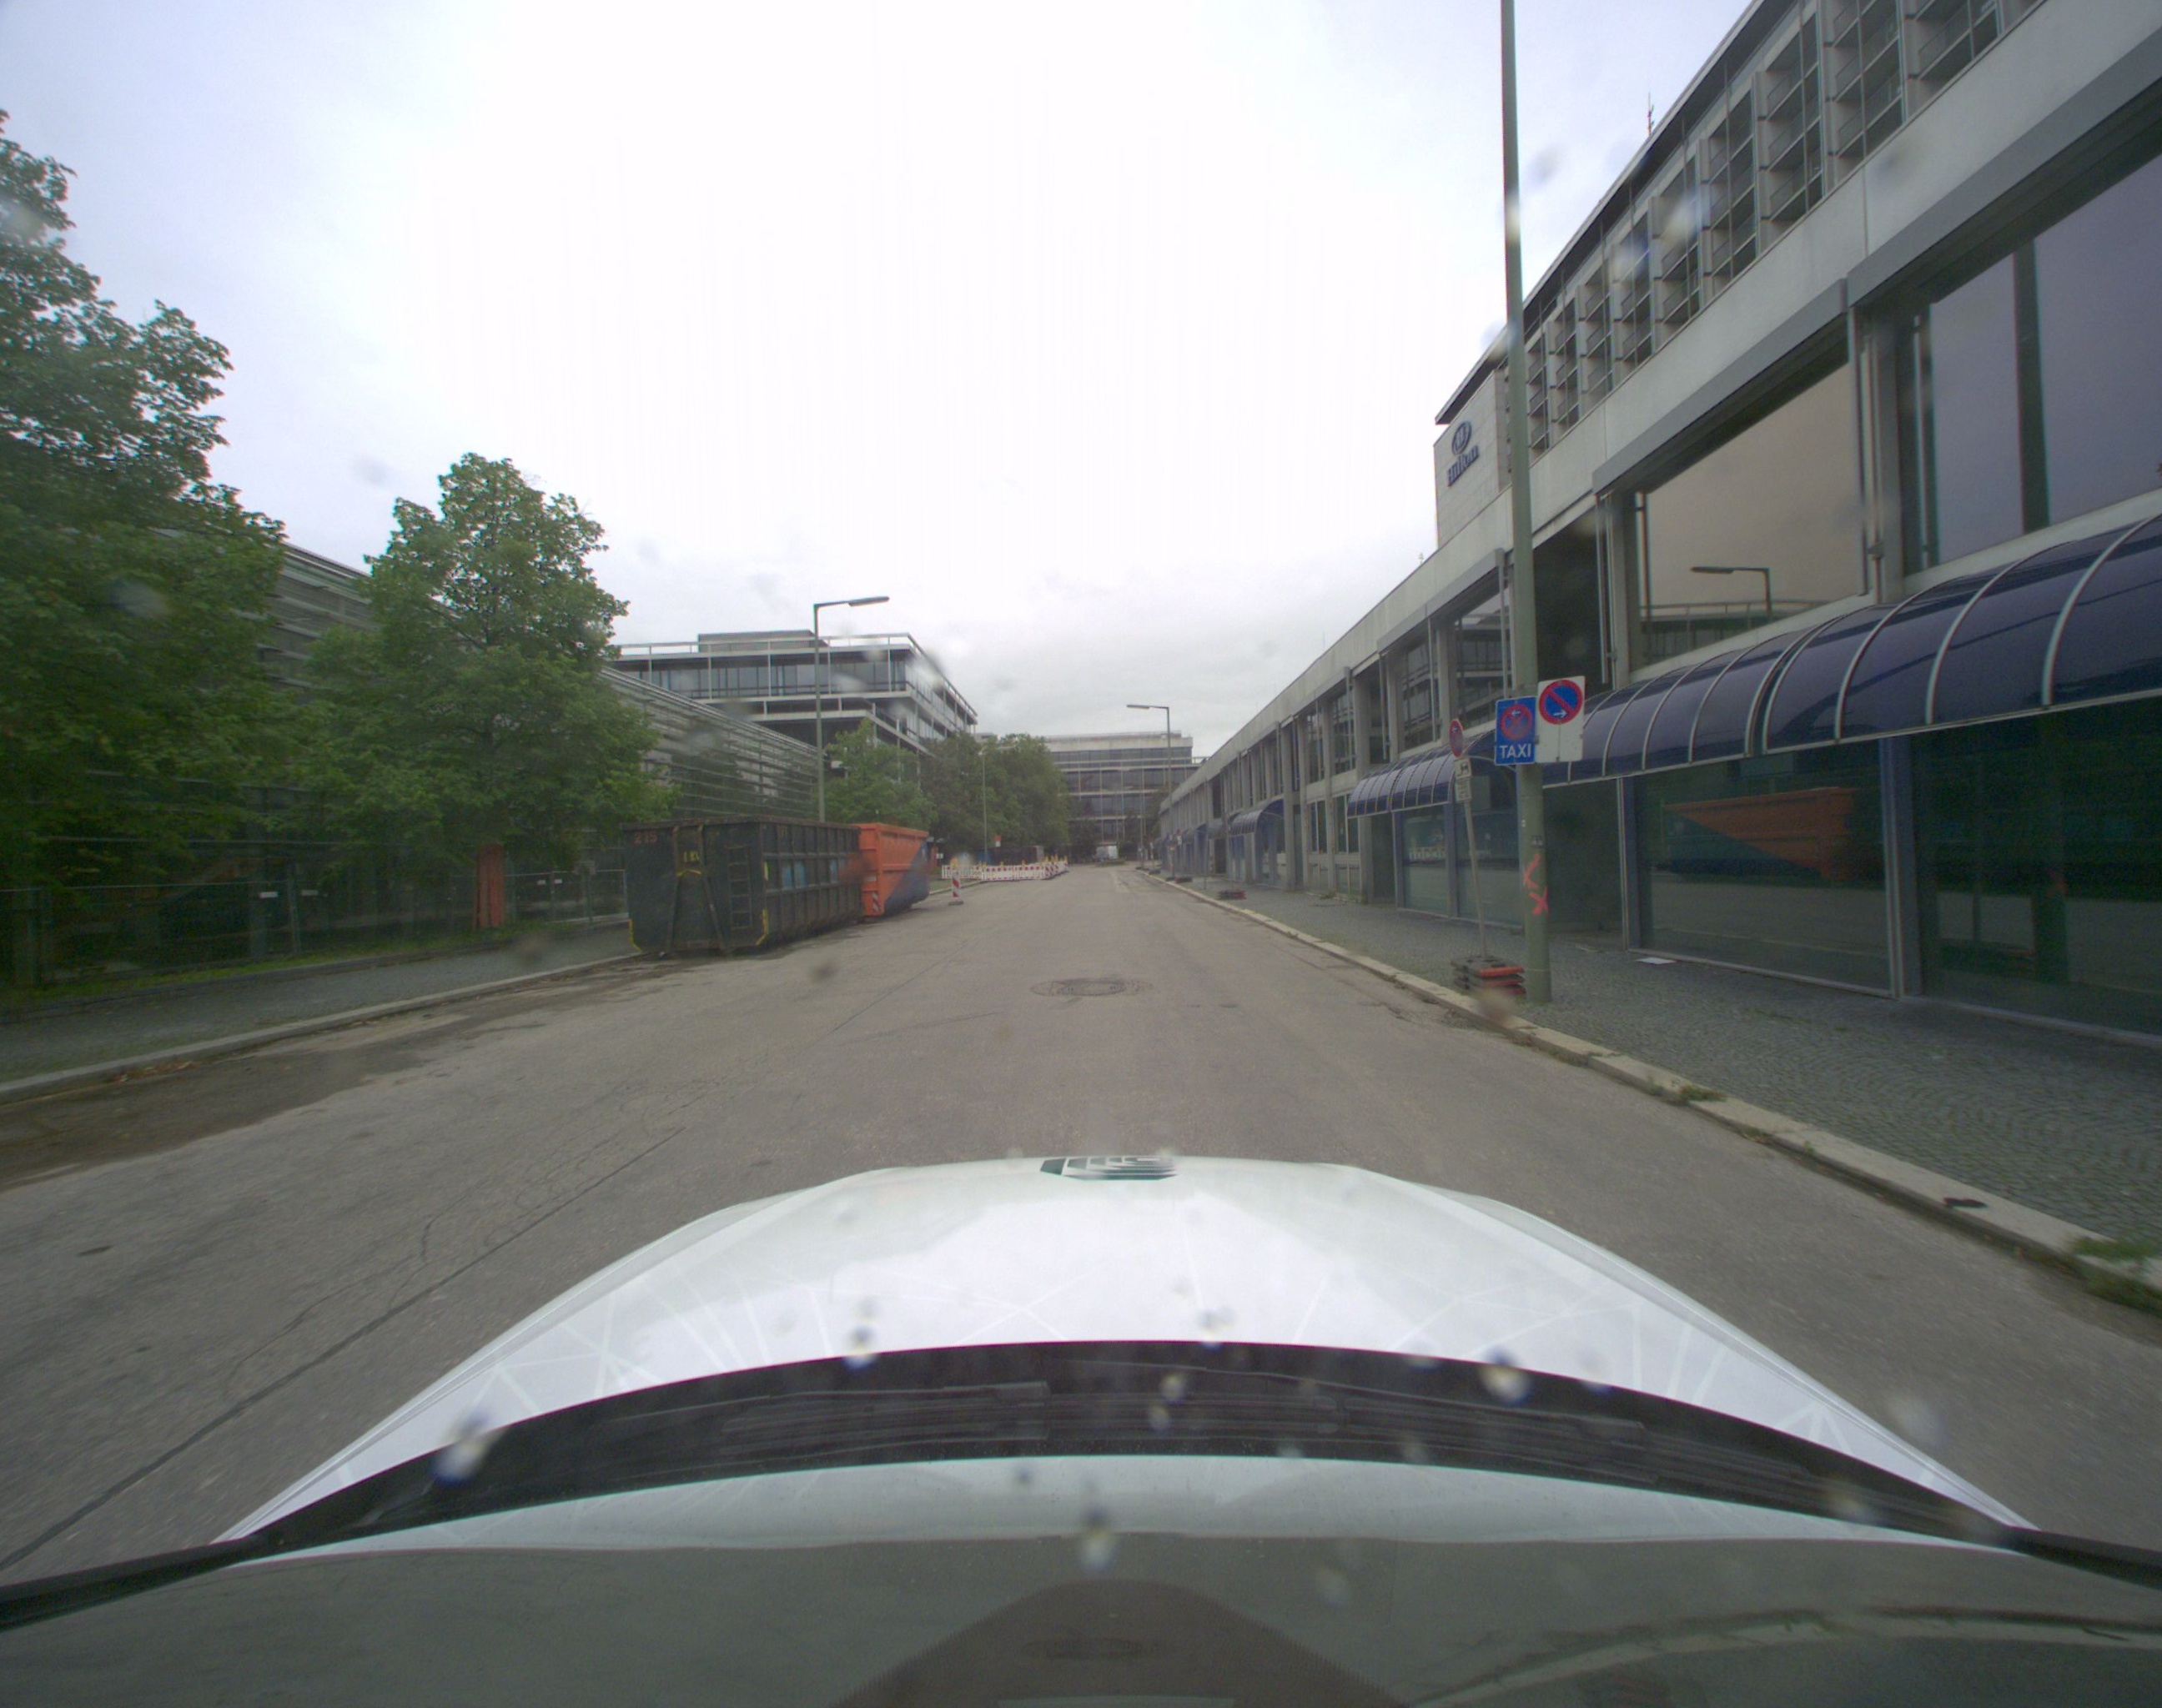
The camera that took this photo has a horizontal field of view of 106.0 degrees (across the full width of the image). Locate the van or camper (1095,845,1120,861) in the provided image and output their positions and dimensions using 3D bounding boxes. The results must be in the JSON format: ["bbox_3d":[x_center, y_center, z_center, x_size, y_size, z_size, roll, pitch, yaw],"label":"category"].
[{"bbox_3d":[4.316,-0.203,134.888,2.095,2.492,5.026,-2,0,-24],"label":"van or camper"}]

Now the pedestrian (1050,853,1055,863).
[{"bbox_3d":[-4.696,0.700,133.915,0.743,1.677,0.678,-2,0,-18],"label":"pedestrian"}]
